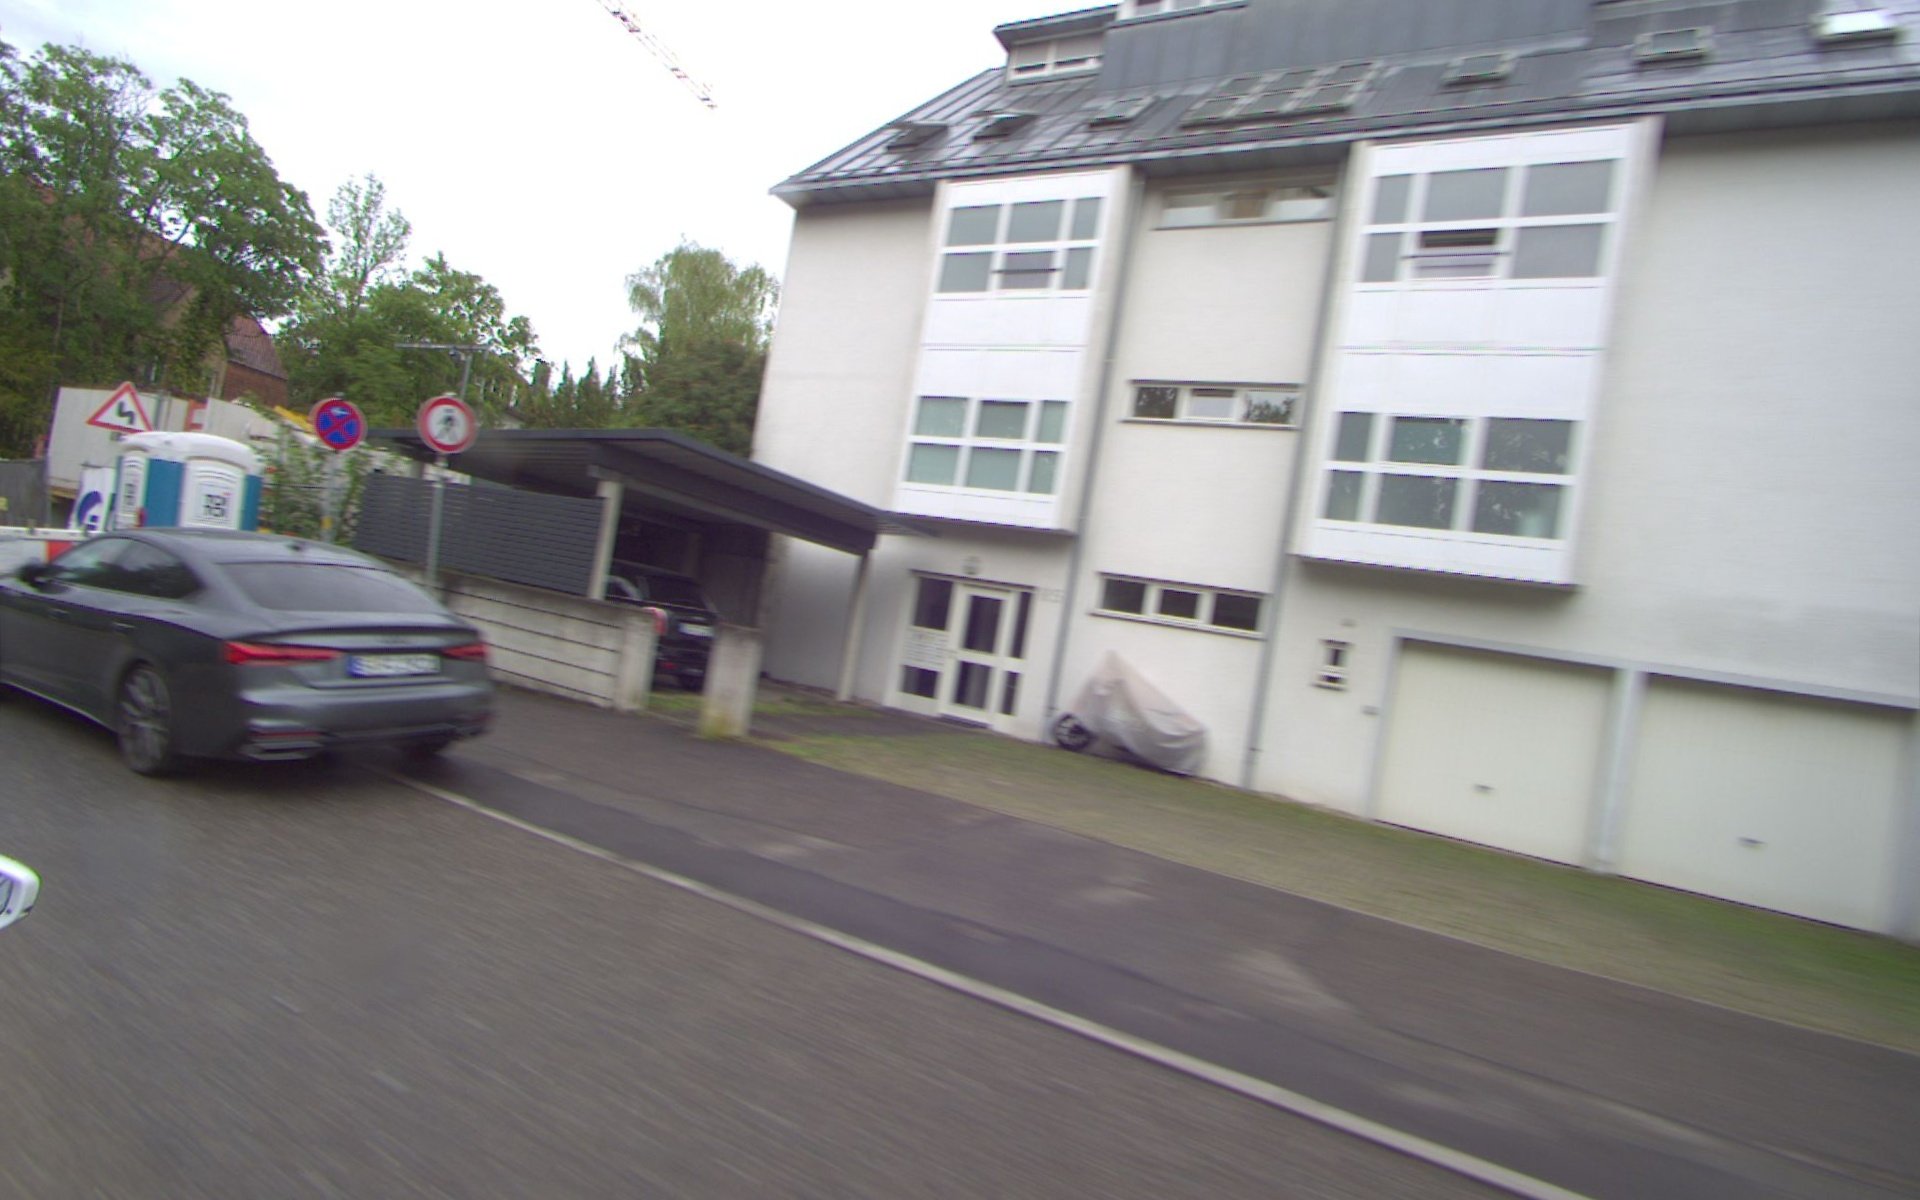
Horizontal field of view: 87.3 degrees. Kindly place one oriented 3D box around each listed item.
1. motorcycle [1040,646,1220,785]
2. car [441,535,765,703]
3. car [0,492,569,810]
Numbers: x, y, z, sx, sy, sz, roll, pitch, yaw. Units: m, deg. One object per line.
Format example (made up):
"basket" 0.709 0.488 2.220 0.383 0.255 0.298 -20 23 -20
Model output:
"motorcycle" 2.216 1.479 13.170 2.009 1.468 0.797 7 -1 31
"car" -4.612 0.209 12.839 3.935 1.487 1.700 7 -5 34
"car" -5.242 0.194 7.109 4.754 1.438 1.937 7 -2 30
